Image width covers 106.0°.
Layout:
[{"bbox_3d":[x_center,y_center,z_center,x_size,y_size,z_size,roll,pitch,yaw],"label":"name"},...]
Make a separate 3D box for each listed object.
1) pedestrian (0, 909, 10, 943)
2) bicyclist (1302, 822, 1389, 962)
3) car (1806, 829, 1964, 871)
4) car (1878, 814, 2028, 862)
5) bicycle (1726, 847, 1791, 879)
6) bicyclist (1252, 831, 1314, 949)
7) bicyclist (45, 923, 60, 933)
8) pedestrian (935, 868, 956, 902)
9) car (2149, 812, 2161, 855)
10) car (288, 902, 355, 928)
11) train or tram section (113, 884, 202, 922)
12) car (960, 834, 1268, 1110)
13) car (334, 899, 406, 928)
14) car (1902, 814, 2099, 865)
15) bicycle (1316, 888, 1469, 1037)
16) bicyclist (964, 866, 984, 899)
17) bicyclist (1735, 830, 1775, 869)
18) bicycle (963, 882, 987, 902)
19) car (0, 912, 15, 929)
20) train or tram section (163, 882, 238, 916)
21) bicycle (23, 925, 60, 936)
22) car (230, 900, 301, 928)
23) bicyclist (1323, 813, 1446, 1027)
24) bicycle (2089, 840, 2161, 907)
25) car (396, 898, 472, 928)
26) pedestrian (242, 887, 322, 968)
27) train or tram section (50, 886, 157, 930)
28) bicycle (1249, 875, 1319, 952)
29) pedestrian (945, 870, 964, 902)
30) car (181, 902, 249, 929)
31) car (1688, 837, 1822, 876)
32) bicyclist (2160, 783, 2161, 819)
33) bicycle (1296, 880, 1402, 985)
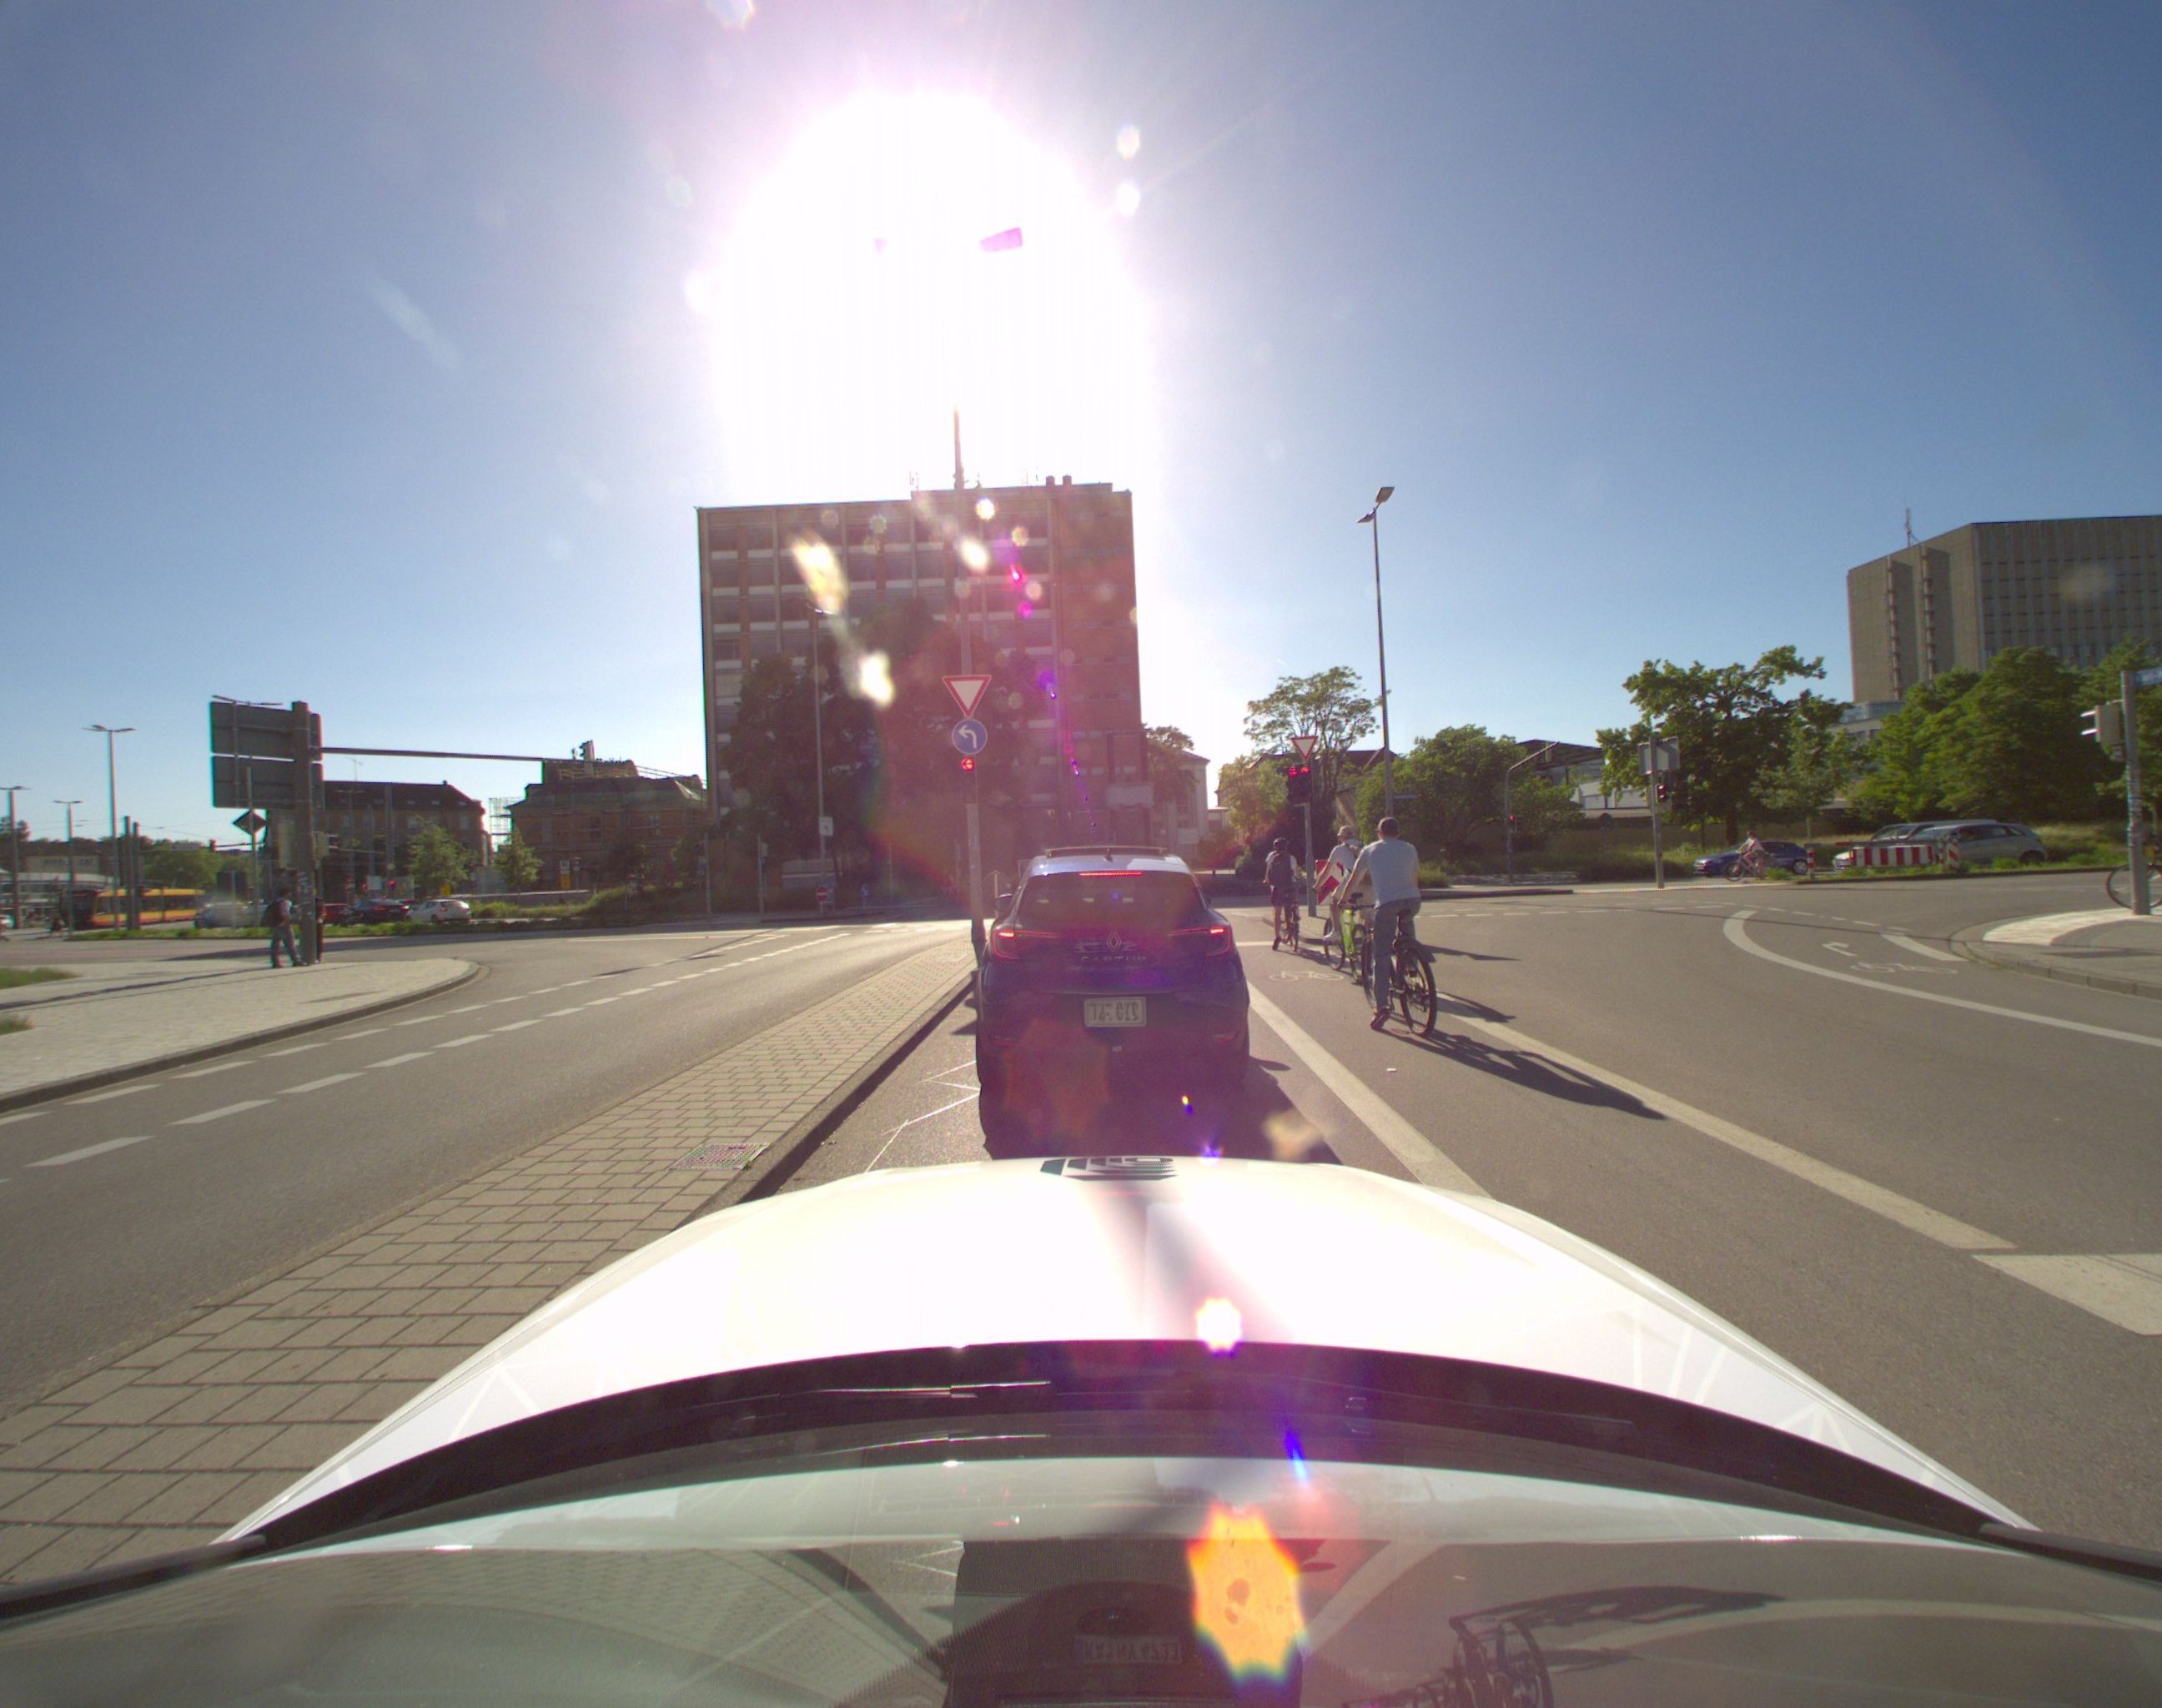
[{"bbox_3d":[-64.783,4.313,48.509,0.716,2.013,1.048,-3,-1,23],"label":"pedestrian"},{"bbox_3d":[3.175,0.438,9.879,0.676,1.594,1.142,-1,-1,1],"label":"bicyclist"},{"bbox_3d":[30.294,-0.136,30.796,3.965,1.398,1.798,-3,-1,7],"label":"car"},{"bbox_3d":[35.868,-0.618,33.611,3.965,1.749,1.798,-2,-1,7],"label":"car"},{"bbox_3d":[24.137,0.321,29.038,1.673,1.033,0.612,-2,-1,7],"label":"bicycle"},{"bbox_3d":[3.213,0.561,13.058,0.697,1.791,1.142,-1,-1,2],"label":"bicyclist"},{"bbox_3d":[-65.901,4.743,52.171,0.425,0.549,0.575,-3,-1,42],"label":"bicyclist"},{"bbox_3d":[-7.518,1.721,45.211,0.807,1.862,0.913,-3,-1,15],"label":"pedestrian"},{"bbox_3d":[36.899,-0.762,25.334,4.534,1.398,1.798,-3,-1,7],"label":"car"},{"bbox_3d":[-48.211,3.867,51.709,3.834,1.508,1.805,-3,-1,25],"label":"car"},{"bbox_3d":[-90.079,4.664,79.694,2.710,3.232,10.495,0,-1,-31],"label":"train or tram section"},{"bbox_3d":[0.196,0.704,6.768,1.783,1.585,3.913,-1,0,0],"label":"car"},{"bbox_3d":[-42.554,3.561,48.740,3.834,1.508,1.805,-3,-1,25],"label":"car"},{"bbox_3d":[29.218,-0.434,26.005,3.965,1.398,1.798,-3,-1,7],"label":"car"},{"bbox_3d":[2.731,0.899,7.385,0.687,1.089,1.923,-1,0,2],"label":"bicycle"},{"bbox_3d":[-5.767,1.527,44.073,0.751,1.716,1.001,-2,-1,7],"label":"bicyclist"},{"bbox_3d":[24.033,-0.160,29.054,0.870,1.343,0.612,-2,-1,7],"label":"bicyclist"},{"bbox_3d":[-5.730,2.042,44.173,0.751,0.985,2.098,-2,0,8],"label":"bicycle"},{"bbox_3d":[-111.885,6.861,83.896,1.753,1.651,3.952,-2,-1,-42],"label":"car"},{"bbox_3d":[-95.599,4.776,88.633,2.710,3.232,10.495,0,-1,-31],"label":"train or tram section"},{"bbox_3d":[-66.174,4.881,51.866,0.429,0.549,1.419,-3,-1,42],"label":"bicycle"},{"bbox_3d":[-48.868,3.602,48.805,3.834,1.508,1.805,-3,-1,25],"label":"car"},{"bbox_3d":[2.728,0.557,7.433,0.680,1.791,1.142,-1,-1,2],"label":"bicyclist"},{"bbox_3d":[15.913,0.268,11.629,0.640,0.958,1.866,-2,-1,-39],"label":"bicycle"},{"bbox_3d":[-36.398,3.334,45.836,3.834,1.508,1.805,-3,-1,25],"label":"car"},{"bbox_3d":[-18.075,1.647,18.437,0.647,1.730,1.066,-3,-1,15],"label":"pedestrian"},{"bbox_3d":[-84.633,4.552,70.783,2.710,3.232,10.495,0,-1,-31],"label":"train or tram section"},{"bbox_3d":[3.217,0.916,13.065,0.687,1.089,1.923,-1,0,2],"label":"bicycle"},{"bbox_3d":[-6.897,1.735,44.374,0.675,1.730,0.764,-3,-1,15],"label":"pedestrian"},{"bbox_3d":[-54.917,3.889,51.636,3.834,1.508,1.805,-3,-1,25],"label":"car"},{"bbox_3d":[28.132,0.105,34.110,3.965,1.398,1.798,-3,-1,7],"label":"car"},{"bbox_3d":[16.025,-0.226,11.476,0.635,1.646,0.903,-2,-1,-39],"label":"bicyclist"},{"bbox_3d":[3.188,0.890,9.889,0.687,1.089,1.923,-1,0,2],"label":"bicycle"}]
